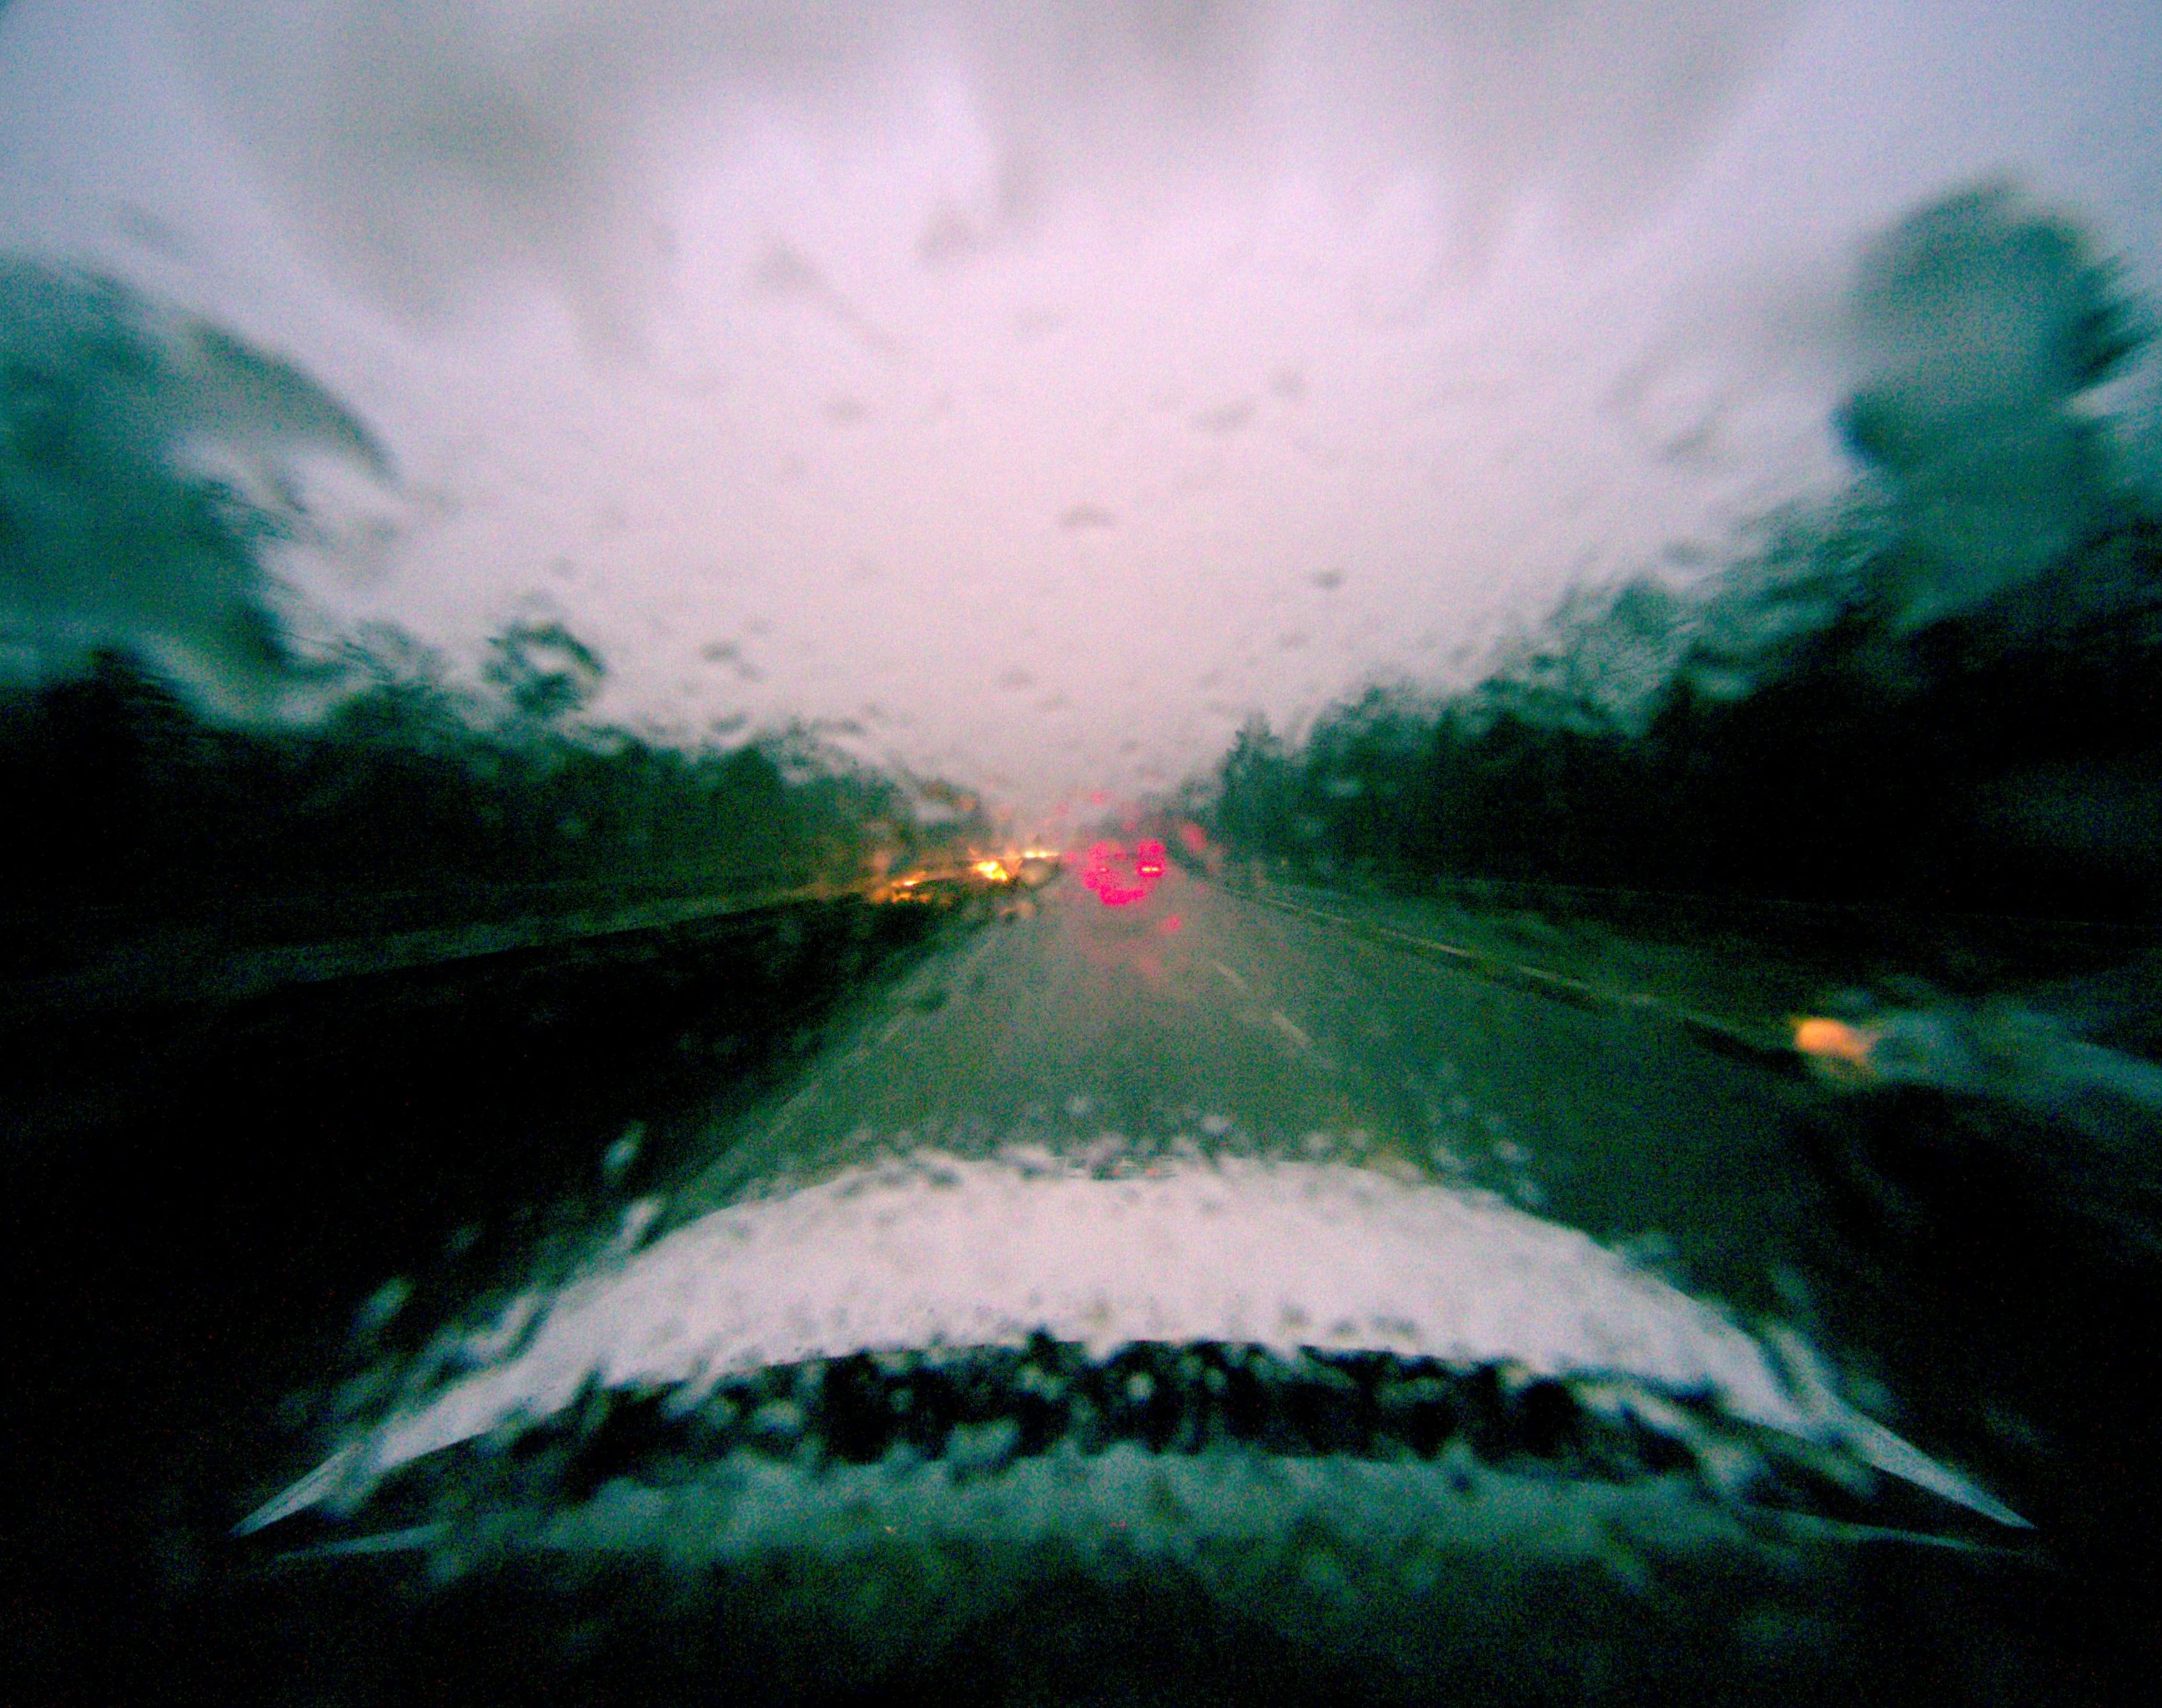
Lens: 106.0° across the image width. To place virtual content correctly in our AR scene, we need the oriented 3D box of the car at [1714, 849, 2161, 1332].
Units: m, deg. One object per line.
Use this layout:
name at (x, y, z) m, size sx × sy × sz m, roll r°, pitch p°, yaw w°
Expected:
car at (3.968, 0.698, 2.444) m, size 1.593 × 1.365 × 3.306 m, roll -3°, pitch 0°, yaw 2°

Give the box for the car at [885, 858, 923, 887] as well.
car at (-10.772, 1.080, 49.771) m, size 1.537 × 1.696 × 3.502 m, roll 0°, pitch -1°, yaw 1°

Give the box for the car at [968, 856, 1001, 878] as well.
car at (-7.155, 0.944, 60.872) m, size 1.827 × 1.549 × 4.529 m, roll 0°, pitch -1°, yaw 1°

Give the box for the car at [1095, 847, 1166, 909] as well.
car at (1.466, 0.720, 25.698) m, size 1.919 × 1.791 × 3.938 m, roll 0°, pitch -1°, yaw -1°
